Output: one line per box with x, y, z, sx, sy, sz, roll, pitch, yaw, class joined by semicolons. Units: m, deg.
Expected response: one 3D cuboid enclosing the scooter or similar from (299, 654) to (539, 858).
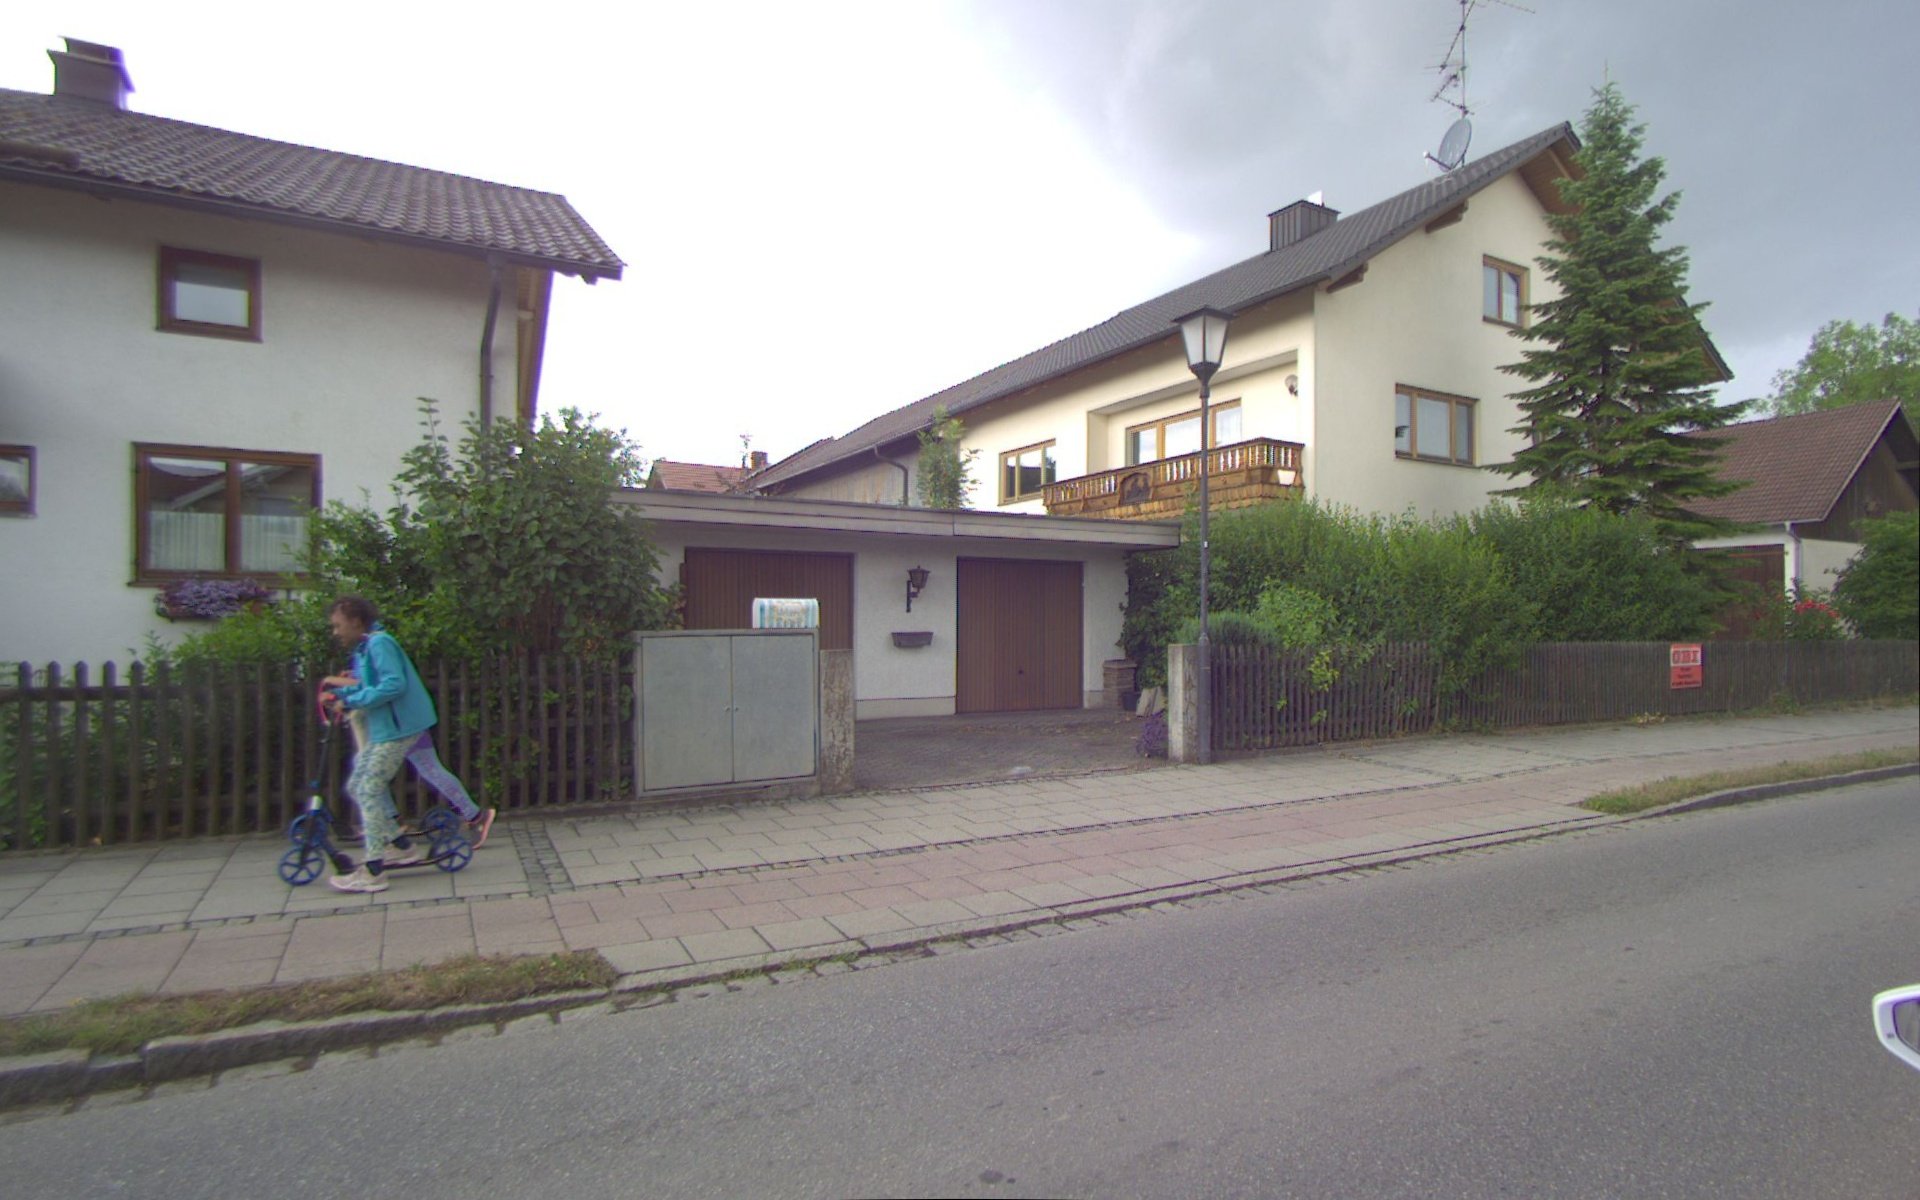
-3.139;0.858;5.900;1.164;1.051;0.658;1;-1;-29;scooter or similar

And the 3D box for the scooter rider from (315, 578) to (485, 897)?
-2.849;0.658;5.148;0.707;1.509;0.500;1;0;-29;scooter rider

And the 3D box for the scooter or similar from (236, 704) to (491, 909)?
-2.977;0.995;5.086;1.048;0.861;0.519;1;0;-29;scooter or similar

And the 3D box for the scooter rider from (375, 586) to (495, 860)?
-3.089;0.678;5.916;0.573;1.492;0.659;1;0;-29;scooter rider
